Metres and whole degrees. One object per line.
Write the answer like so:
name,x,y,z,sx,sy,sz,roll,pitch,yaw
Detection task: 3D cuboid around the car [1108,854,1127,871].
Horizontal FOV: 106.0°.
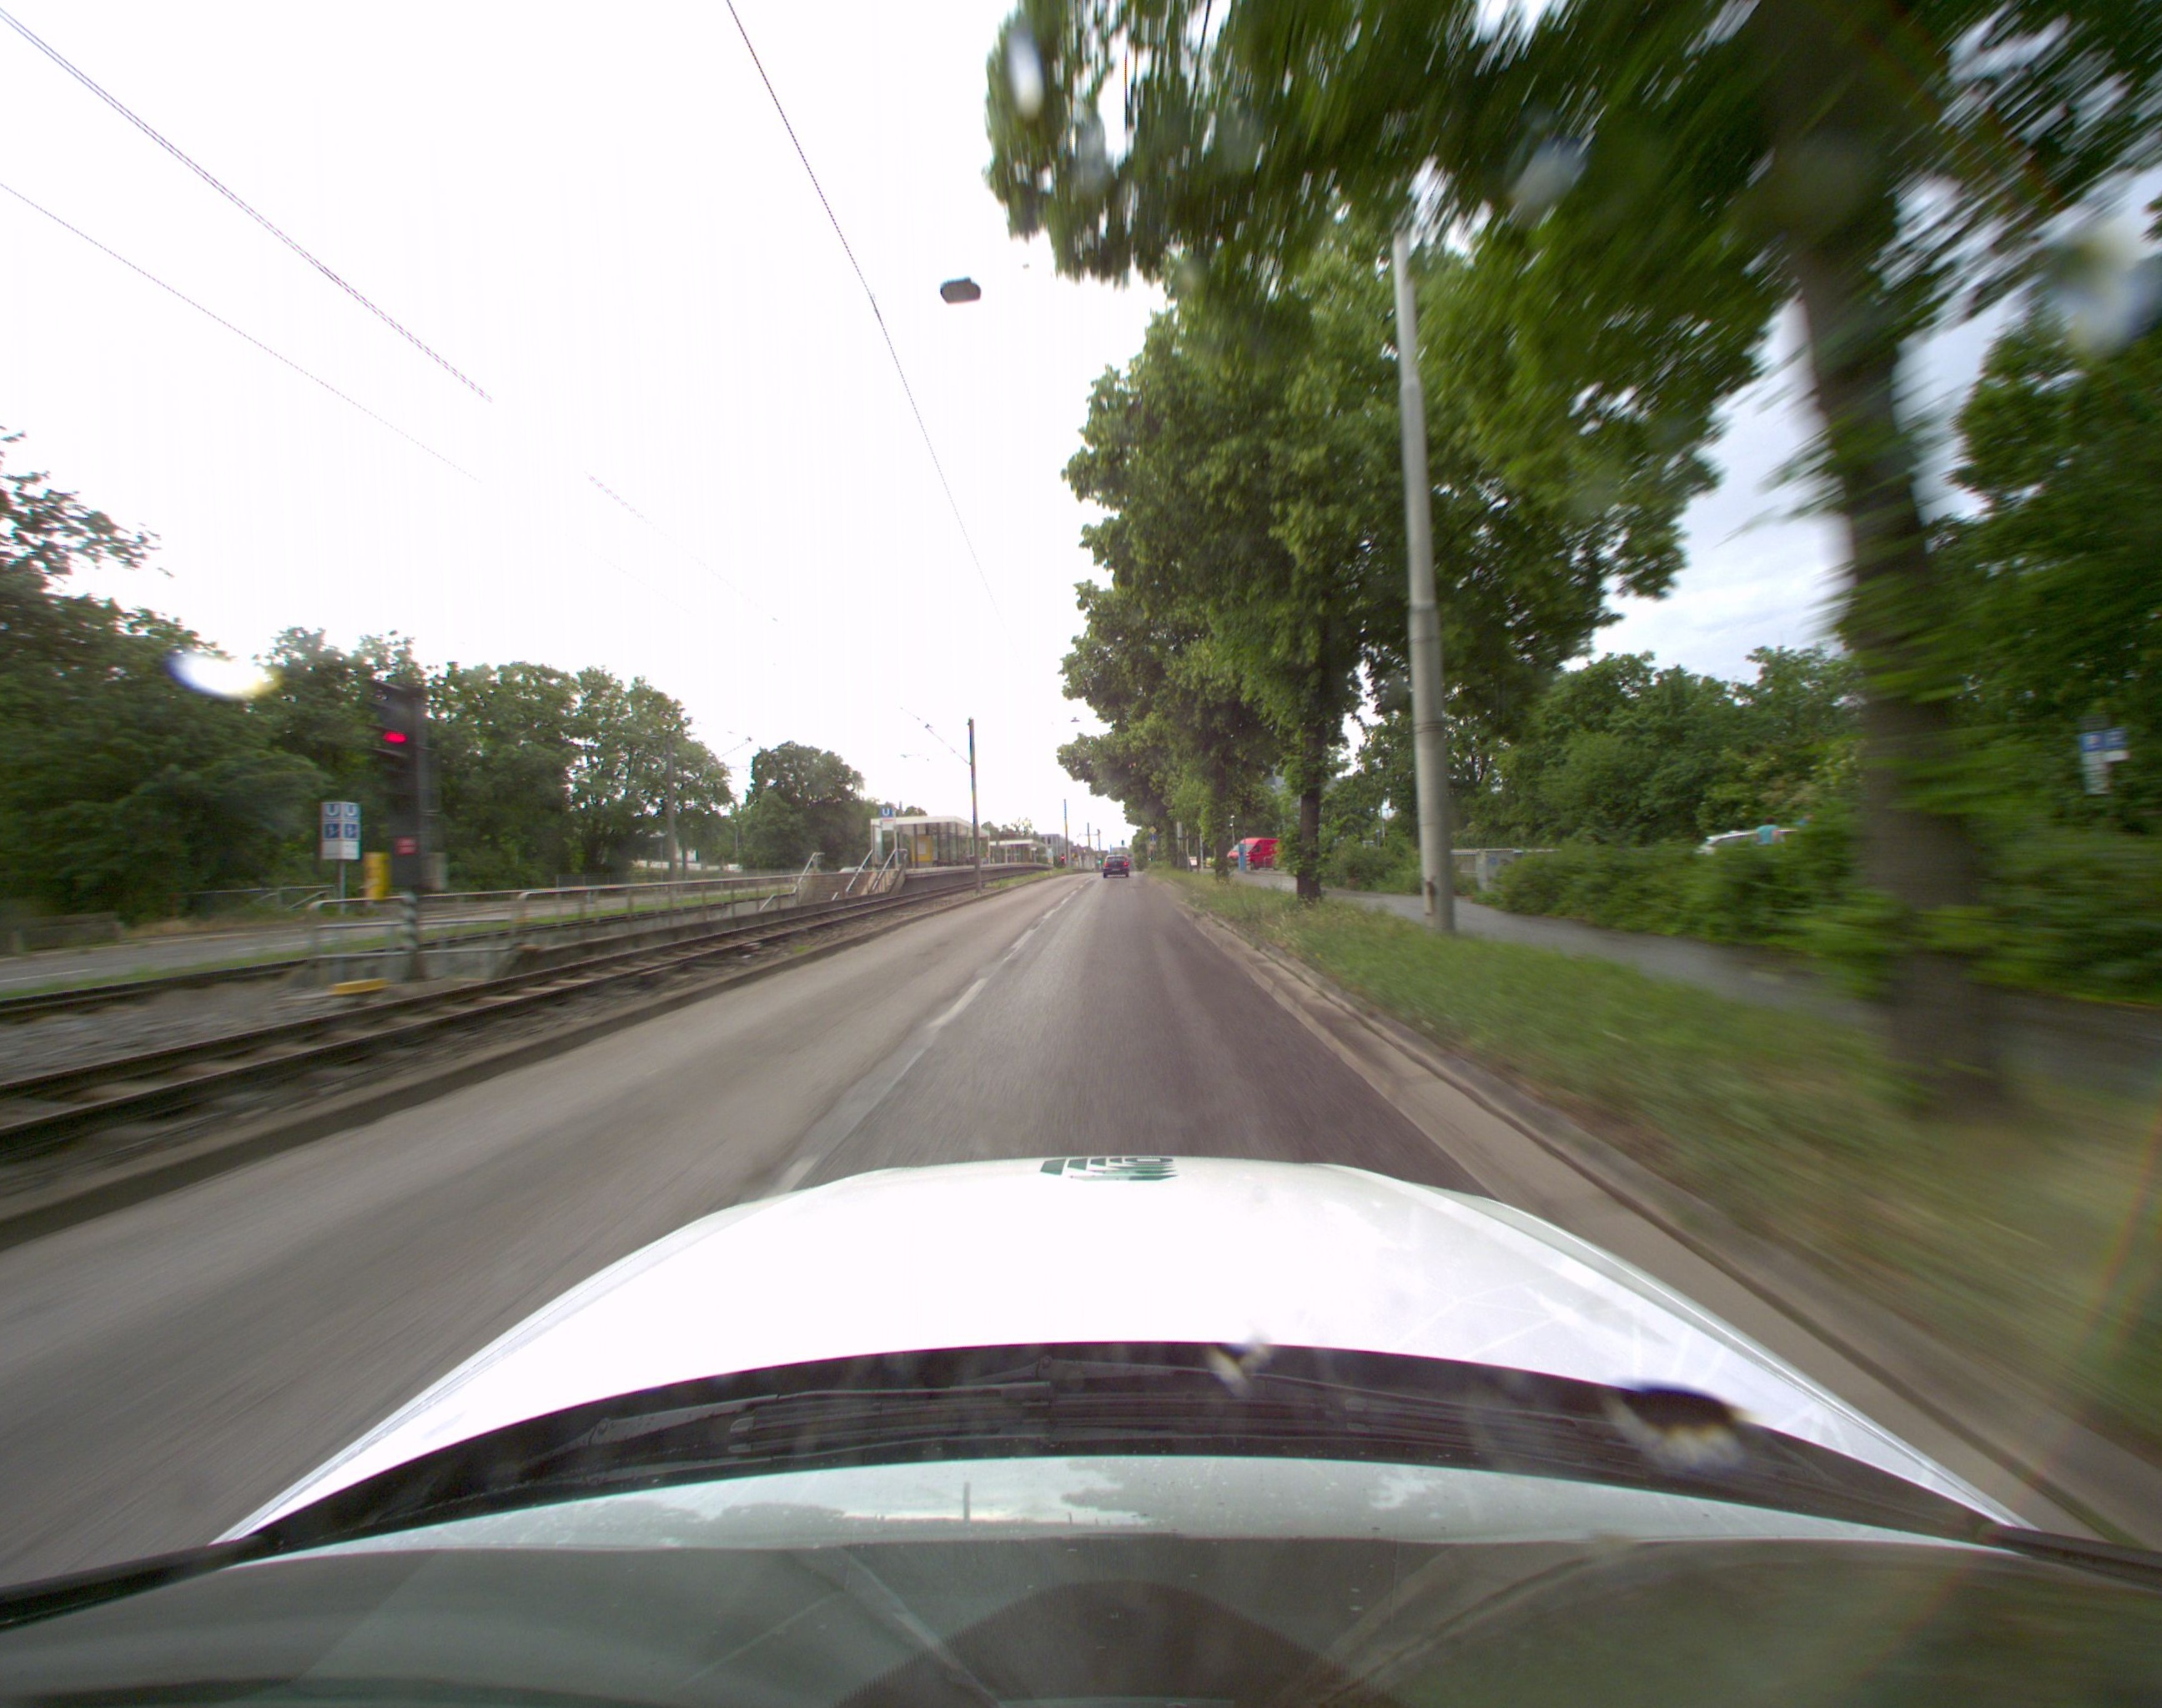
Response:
car,3.442,0.779,76.377,1.680,1.517,4.003,-3,0,3

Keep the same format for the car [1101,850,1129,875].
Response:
car,2.234,0.524,53.392,1.720,1.540,4.003,-3,0,2

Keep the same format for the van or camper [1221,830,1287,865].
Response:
van or camper,12.685,-0.438,59.592,5.422,2.406,2.016,1,0,-45

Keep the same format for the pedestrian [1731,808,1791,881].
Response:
pedestrian,17.669,-0.244,21.158,0.901,1.771,0.932,-4,-1,-39

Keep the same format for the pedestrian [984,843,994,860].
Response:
pedestrian,-9.083,-0.223,80.568,0.797,1.647,0.913,-1,1,-18

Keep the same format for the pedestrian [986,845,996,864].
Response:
pedestrian,-9.012,0.068,81.518,0.745,1.909,0.837,-1,1,-18

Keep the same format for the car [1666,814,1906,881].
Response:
car,18.932,-0.130,22.076,2.010,1.579,4.597,-2,0,-38

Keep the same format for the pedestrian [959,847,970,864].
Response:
pedestrian,-8.918,0.109,62.232,0.707,1.225,0.620,-2,-1,3
